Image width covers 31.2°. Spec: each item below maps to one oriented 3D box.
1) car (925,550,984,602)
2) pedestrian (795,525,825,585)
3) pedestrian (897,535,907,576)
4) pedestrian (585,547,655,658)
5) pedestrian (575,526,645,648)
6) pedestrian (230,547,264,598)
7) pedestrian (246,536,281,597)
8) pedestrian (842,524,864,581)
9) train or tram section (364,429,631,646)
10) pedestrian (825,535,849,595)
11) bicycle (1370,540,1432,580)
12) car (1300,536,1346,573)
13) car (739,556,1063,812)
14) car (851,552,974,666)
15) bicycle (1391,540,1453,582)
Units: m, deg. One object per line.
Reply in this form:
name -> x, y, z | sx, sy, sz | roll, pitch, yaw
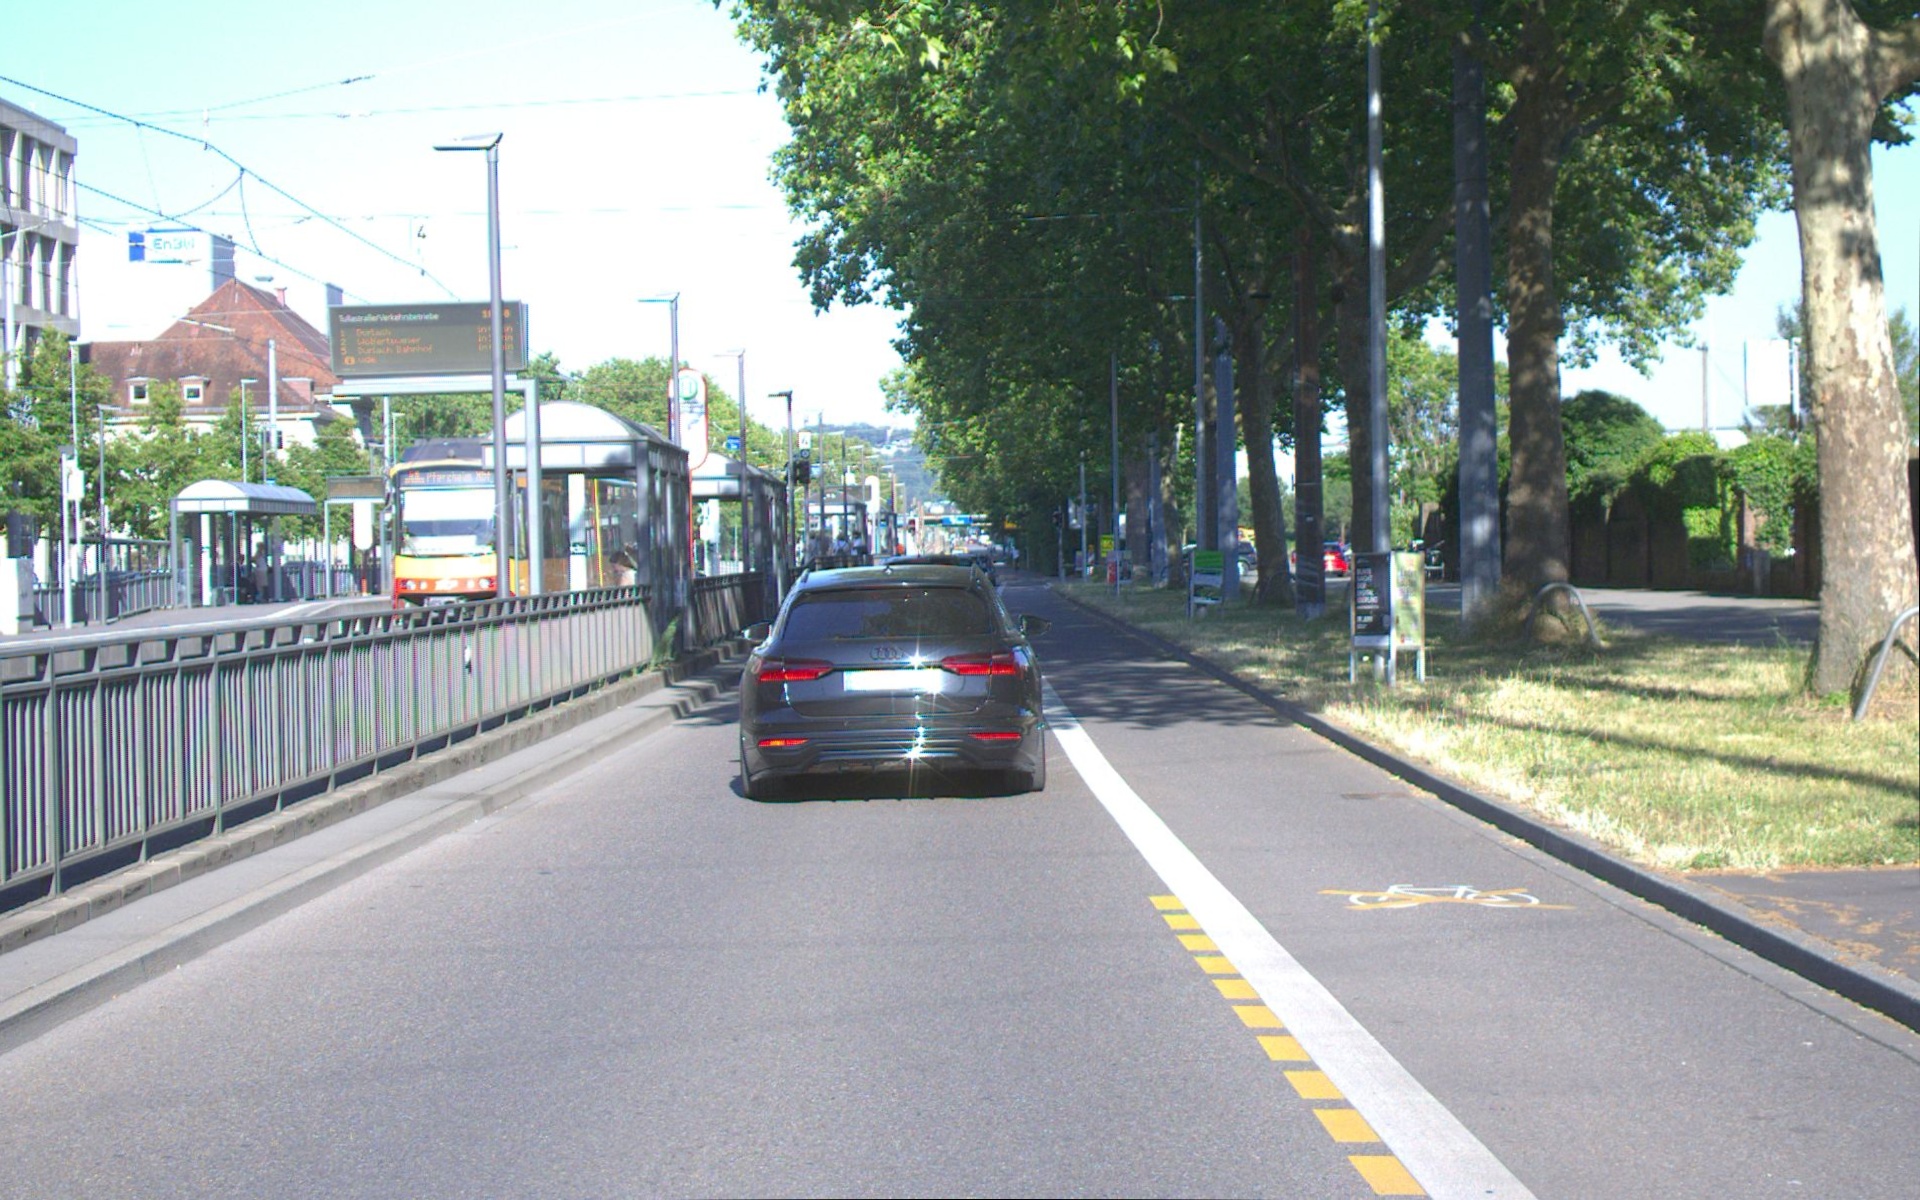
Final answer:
car -> -0.203, -0.791, 110.519 | 1.762, 1.614, 4.000 | -1, 1, -2
pedestrian -> -3.930, -1.179, 89.903 | 0.614, 1.543, 0.724 | -1, 1, 11
pedestrian -> -2.457, -1.890, 145.294 | 0.412, 1.711, 0.666 | -1, 1, 0
pedestrian -> -3.957, 0.028, 40.026 | 0.742, 1.269, 0.525 | -1, 1, 0
pedestrian -> -4.400, -0.164, 43.217 | 0.746, 1.503, 0.666 | -1, 1, 3
pedestrian -> -17.602, -0.682, 84.848 | 0.614, 1.255, 0.724 | -1, 1, 4
pedestrian -> -17.693, -0.854, 87.342 | 0.614, 1.522, 0.724 | -1, 1, 9
pedestrian -> -3.373, -1.504, 108.327 | 0.611, 1.778, 0.613 | -1, 1, 1
train or tram section -> -8.954, -1.215, 68.568 | 3.309, 3.816, 14.219 | -1, 1, 0
pedestrian -> -3.414, -0.975, 95.584 | 0.611, 1.663, 0.613 | -1, 1, 2
bicycle -> 13.440, -1.219, 104.758 | 1.773, 1.116, 0.439 | -2, 1, 0
car -> 15.580, -1.957, 147.727 | 1.614, 1.510, 3.803 | -1, 1, 1
car -> -0.399, 0.473, 21.902 | 1.878, 1.452, 3.357 | -1, 1, -2
car -> -0.747, 0.099, 51.773 | 1.762, 1.614, 4.000 | -1, 1, -2
bicycle -> 13.238, -1.113, 98.478 | 1.687, 1.116, 0.439 | -2, 1, 0
